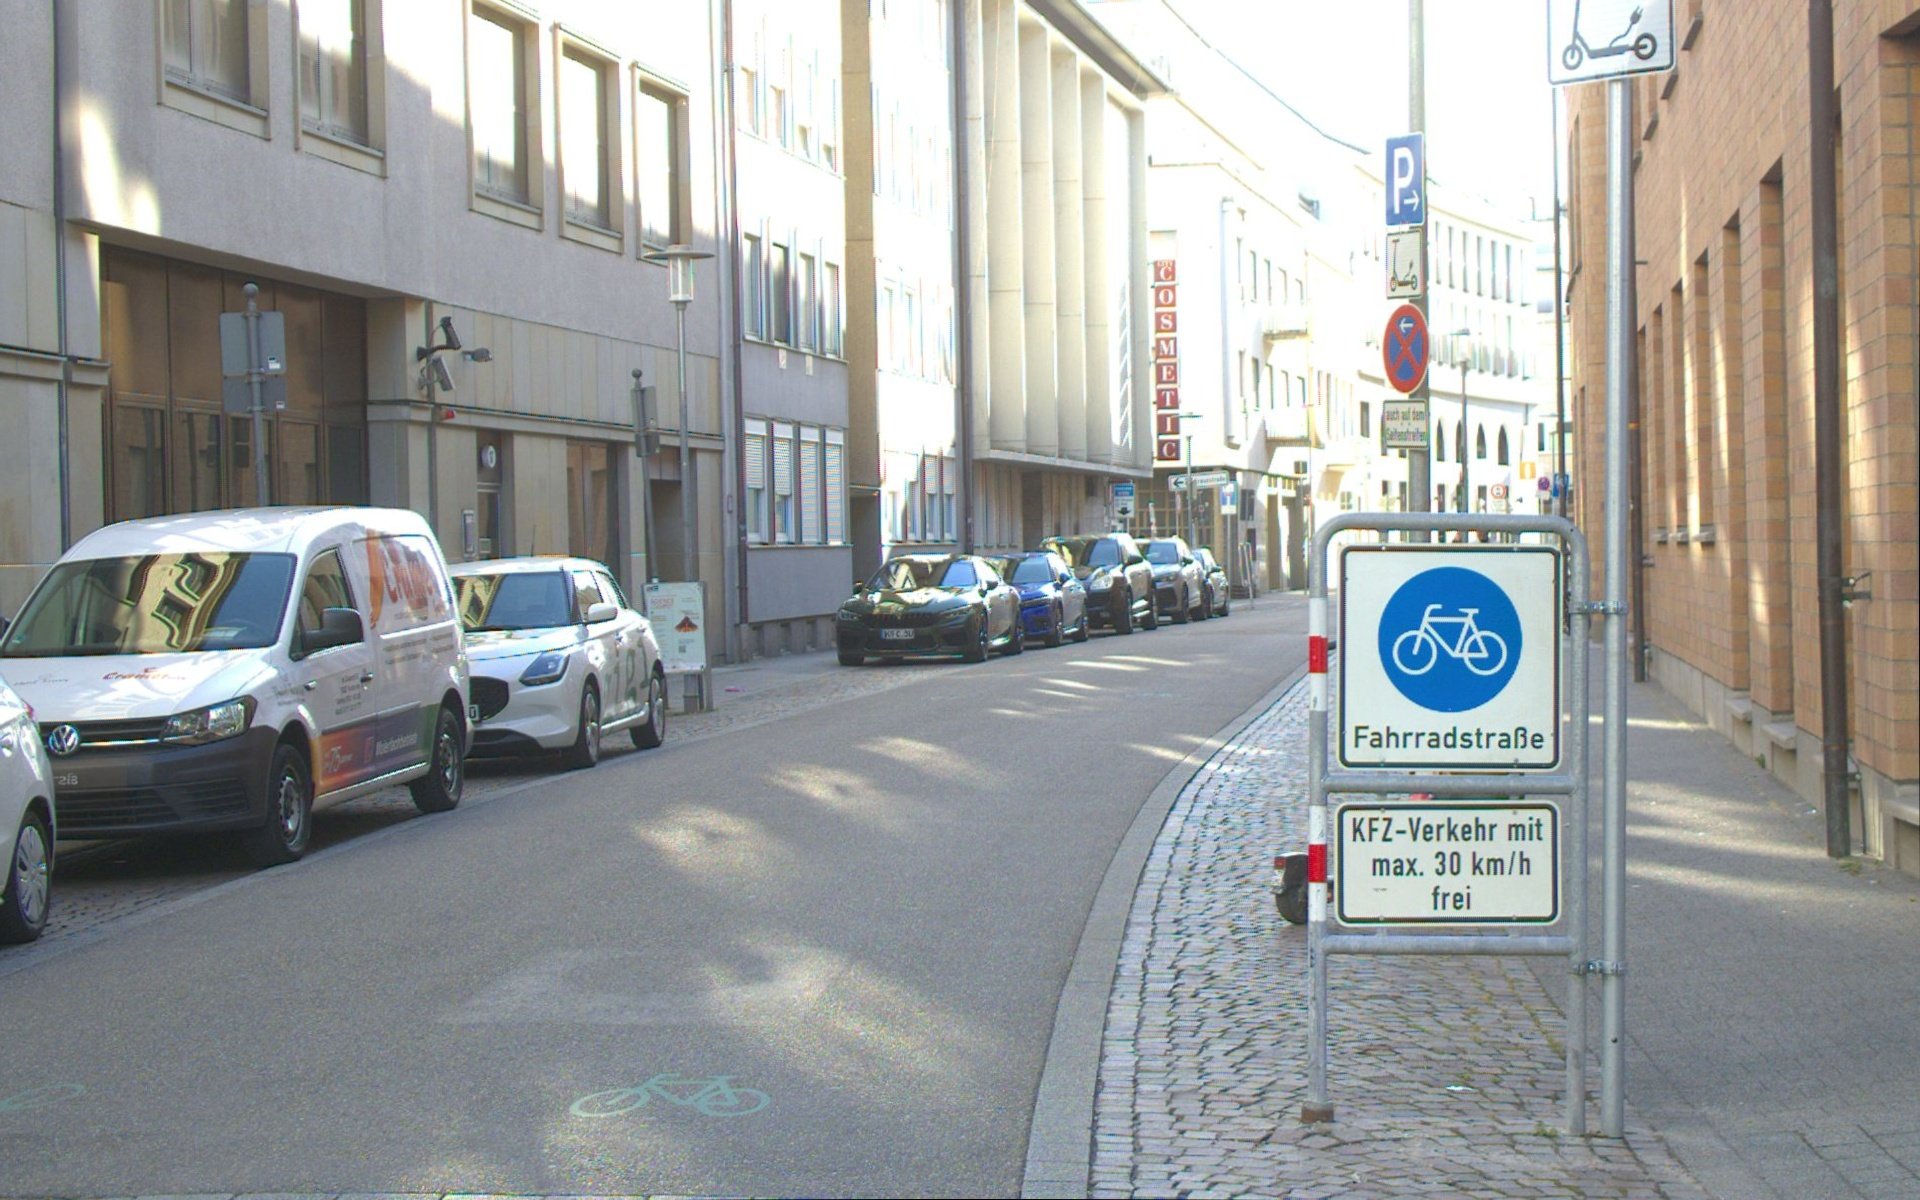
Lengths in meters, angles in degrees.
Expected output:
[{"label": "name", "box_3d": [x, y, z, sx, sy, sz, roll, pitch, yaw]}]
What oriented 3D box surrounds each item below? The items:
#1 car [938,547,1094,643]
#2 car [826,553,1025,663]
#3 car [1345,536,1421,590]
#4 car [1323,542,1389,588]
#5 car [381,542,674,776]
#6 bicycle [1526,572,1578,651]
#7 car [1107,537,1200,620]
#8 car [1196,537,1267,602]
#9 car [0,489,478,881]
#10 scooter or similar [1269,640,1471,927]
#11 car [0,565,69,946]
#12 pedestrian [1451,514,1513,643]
[{"label": "car", "box_3d": [0.884, -0.103, 51.627, 1.725, 1.336, 3.999, -1, 1, 10]}, {"label": "car", "box_3d": [-0.403, 0.079, 45.181, 1.882, 1.327, 4.099, -1, 1, 10]}, {"label": "car", "box_3d": [11.345, -1.013, 91.980, 1.690, 1.365, 3.616, -1, 1, 12]}, {"label": "car", "box_3d": [12.347, -1.097, 106.950, 1.690, 1.365, 3.616, -1, 1, 12]}, {"label": "car", "box_3d": [-3.042, 0.370, 24.739, 1.271, 1.501, 3.401, -2, 1, 7]}, {"label": "bicycle", "box_3d": [7.858, 0.136, 45.702, 0.511, 0.990, 2.647, 0, 1, 6]}, {"label": "car", "box_3d": [3.669, -0.428, 64.828, 1.339, 1.489, 3.509, -1, 1, 10]}, {"label": "car", "box_3d": [6.475, -0.738, 81.833, 1.339, 1.489, 3.345, -1, 1, 10]}, {"label": "car", "box_3d": [-3.992, 0.368, 18.558, 1.670, 1.812, 4.551, -2, 1, 6]}, {"label": "scooter or similar", "box_3d": [1.666, 0.742, 14.016, 0.771, 1.132, 0.269, 2, 0, 3]}, {"label": "car", "box_3d": [-4.663, 0.667, 12.700, 1.670, 1.501, 3.794, -2, 1, 1]}, {"label": "pedestrian", "box_3d": [7.100, -0.291, 46.797, 0.664, 1.724, 0.840, 2, 0, -1]}]
